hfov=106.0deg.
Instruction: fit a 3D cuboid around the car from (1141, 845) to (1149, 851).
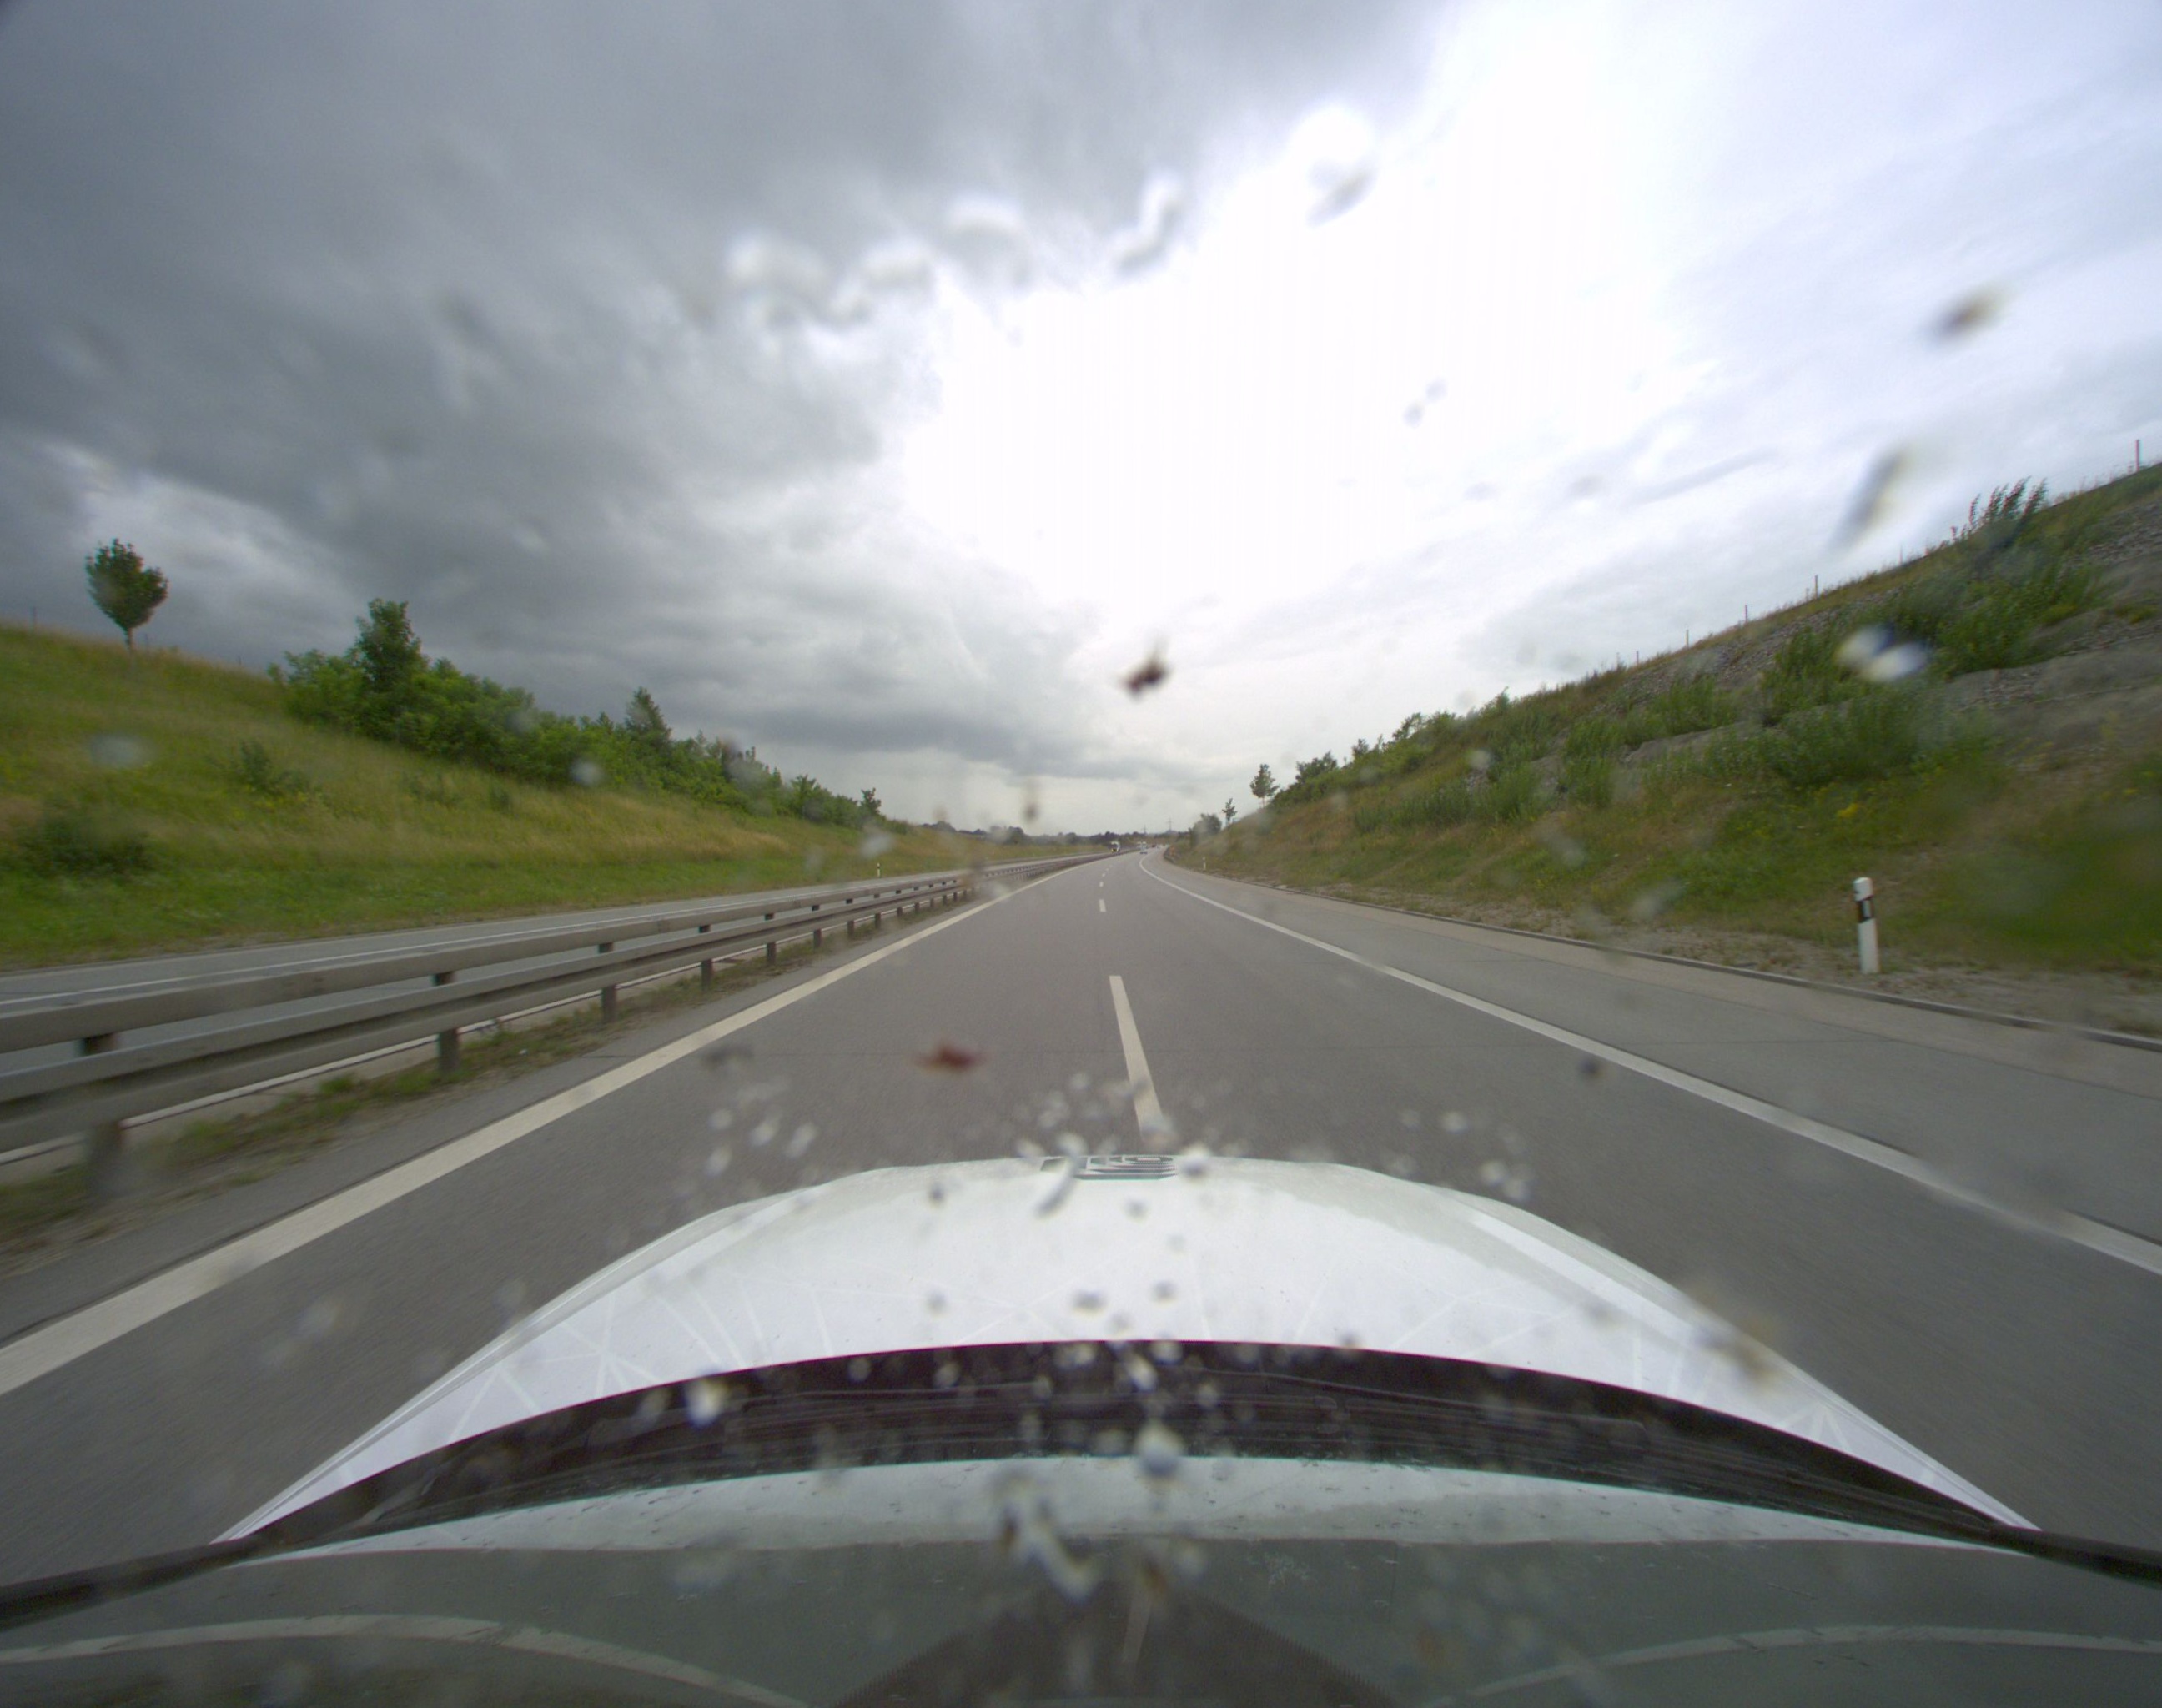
[{"bbox_3d":[18.506,-1.702,236.667,1.945,1.651,4.009,-2,0,8],"label":"car"}]
